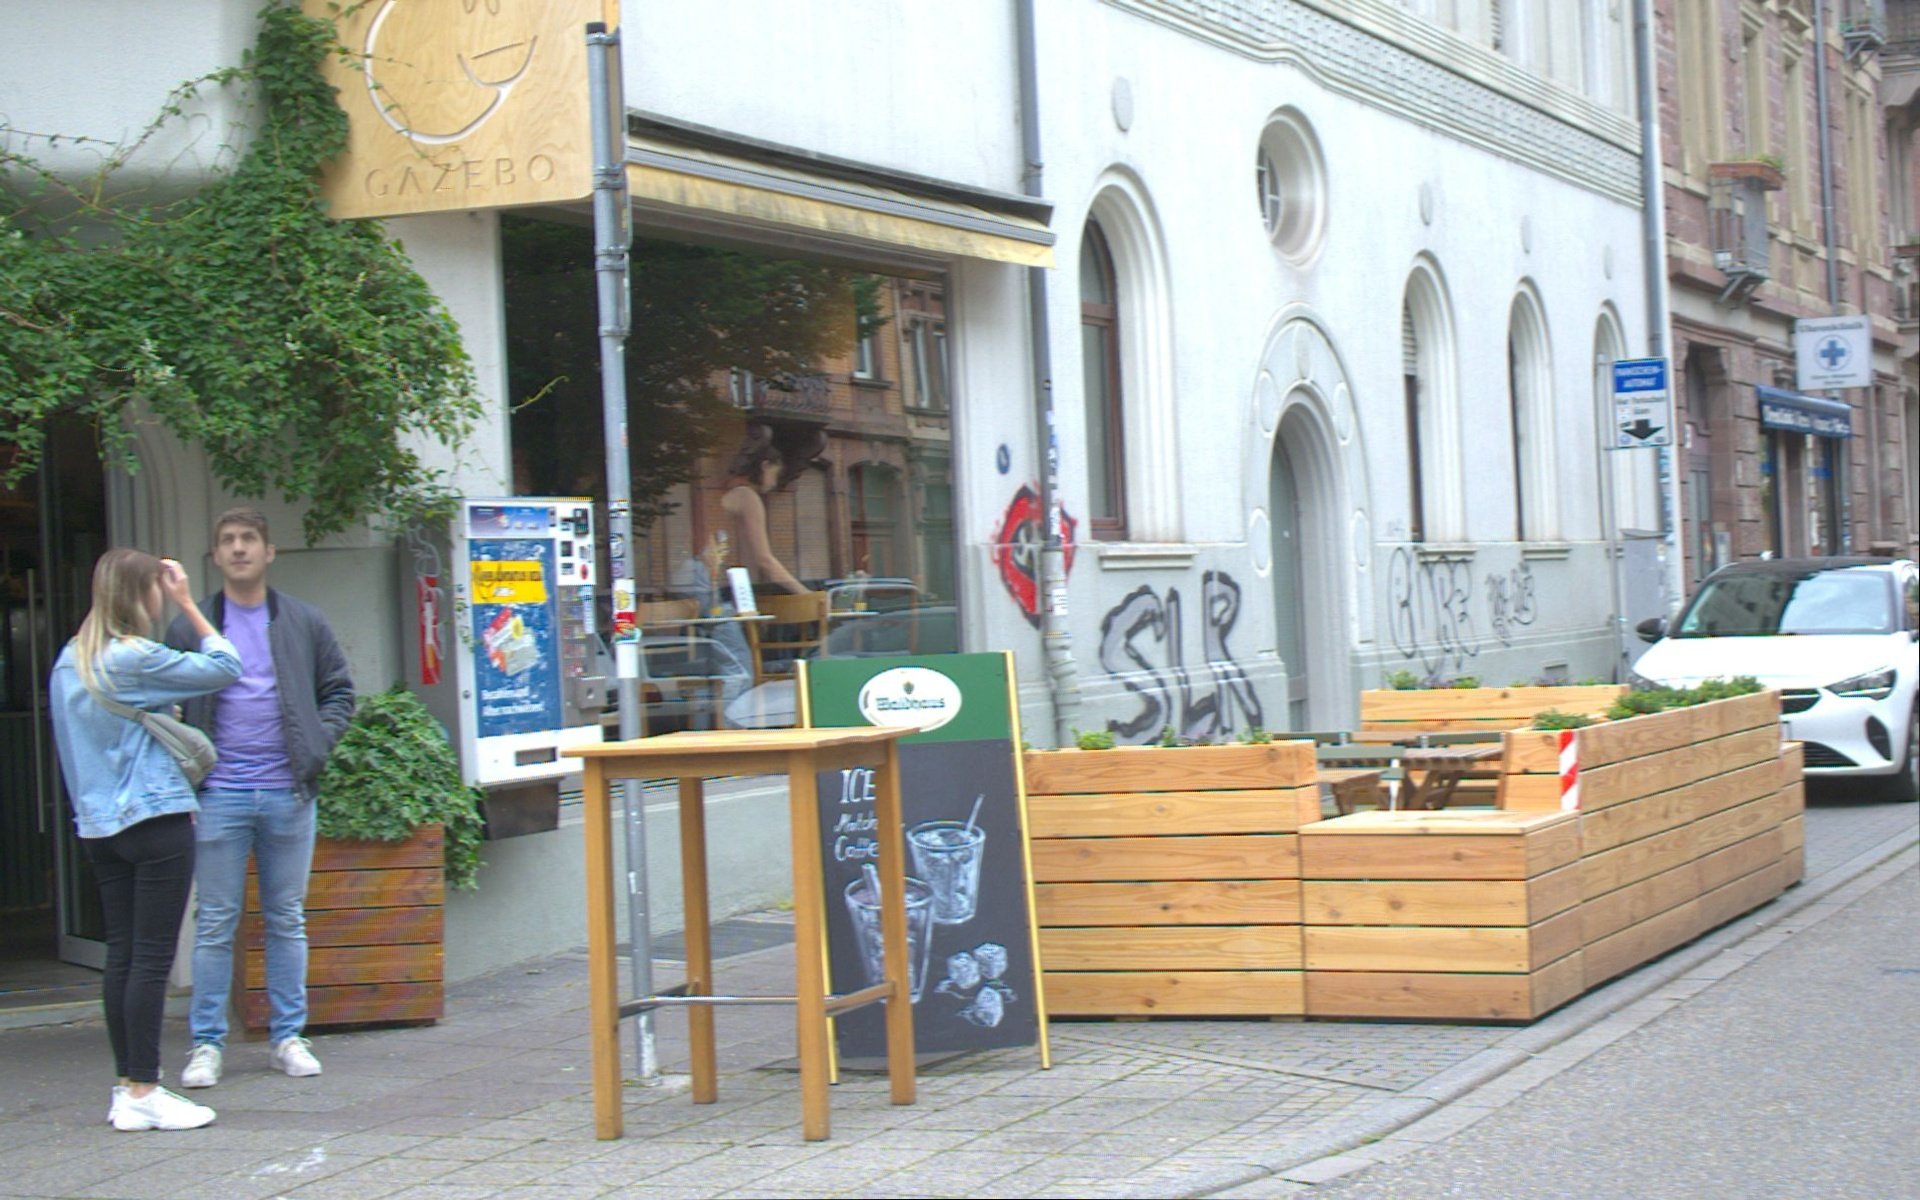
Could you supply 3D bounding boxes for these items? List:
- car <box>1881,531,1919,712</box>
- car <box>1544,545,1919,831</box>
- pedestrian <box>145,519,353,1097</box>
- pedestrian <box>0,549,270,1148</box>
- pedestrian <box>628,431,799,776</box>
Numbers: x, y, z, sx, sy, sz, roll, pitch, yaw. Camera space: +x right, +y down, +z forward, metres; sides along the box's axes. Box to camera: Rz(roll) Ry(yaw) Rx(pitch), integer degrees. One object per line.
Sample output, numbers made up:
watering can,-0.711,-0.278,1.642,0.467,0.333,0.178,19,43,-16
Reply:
car,9.900,0.154,32.037,1.946,1.611,3.938,-1,0,24
car,5.154,0.491,21.305,1.947,1.548,3.812,-4,-1,26
pedestrian,-2.205,0.629,10.668,0.578,1.729,0.506,-1,-1,-12
pedestrian,-2.416,0.693,9.913,0.574,1.655,0.580,0,-2,-45
pedestrian,-1.178,0.019,16.324,0.743,1.588,0.619,-1,-1,-7
